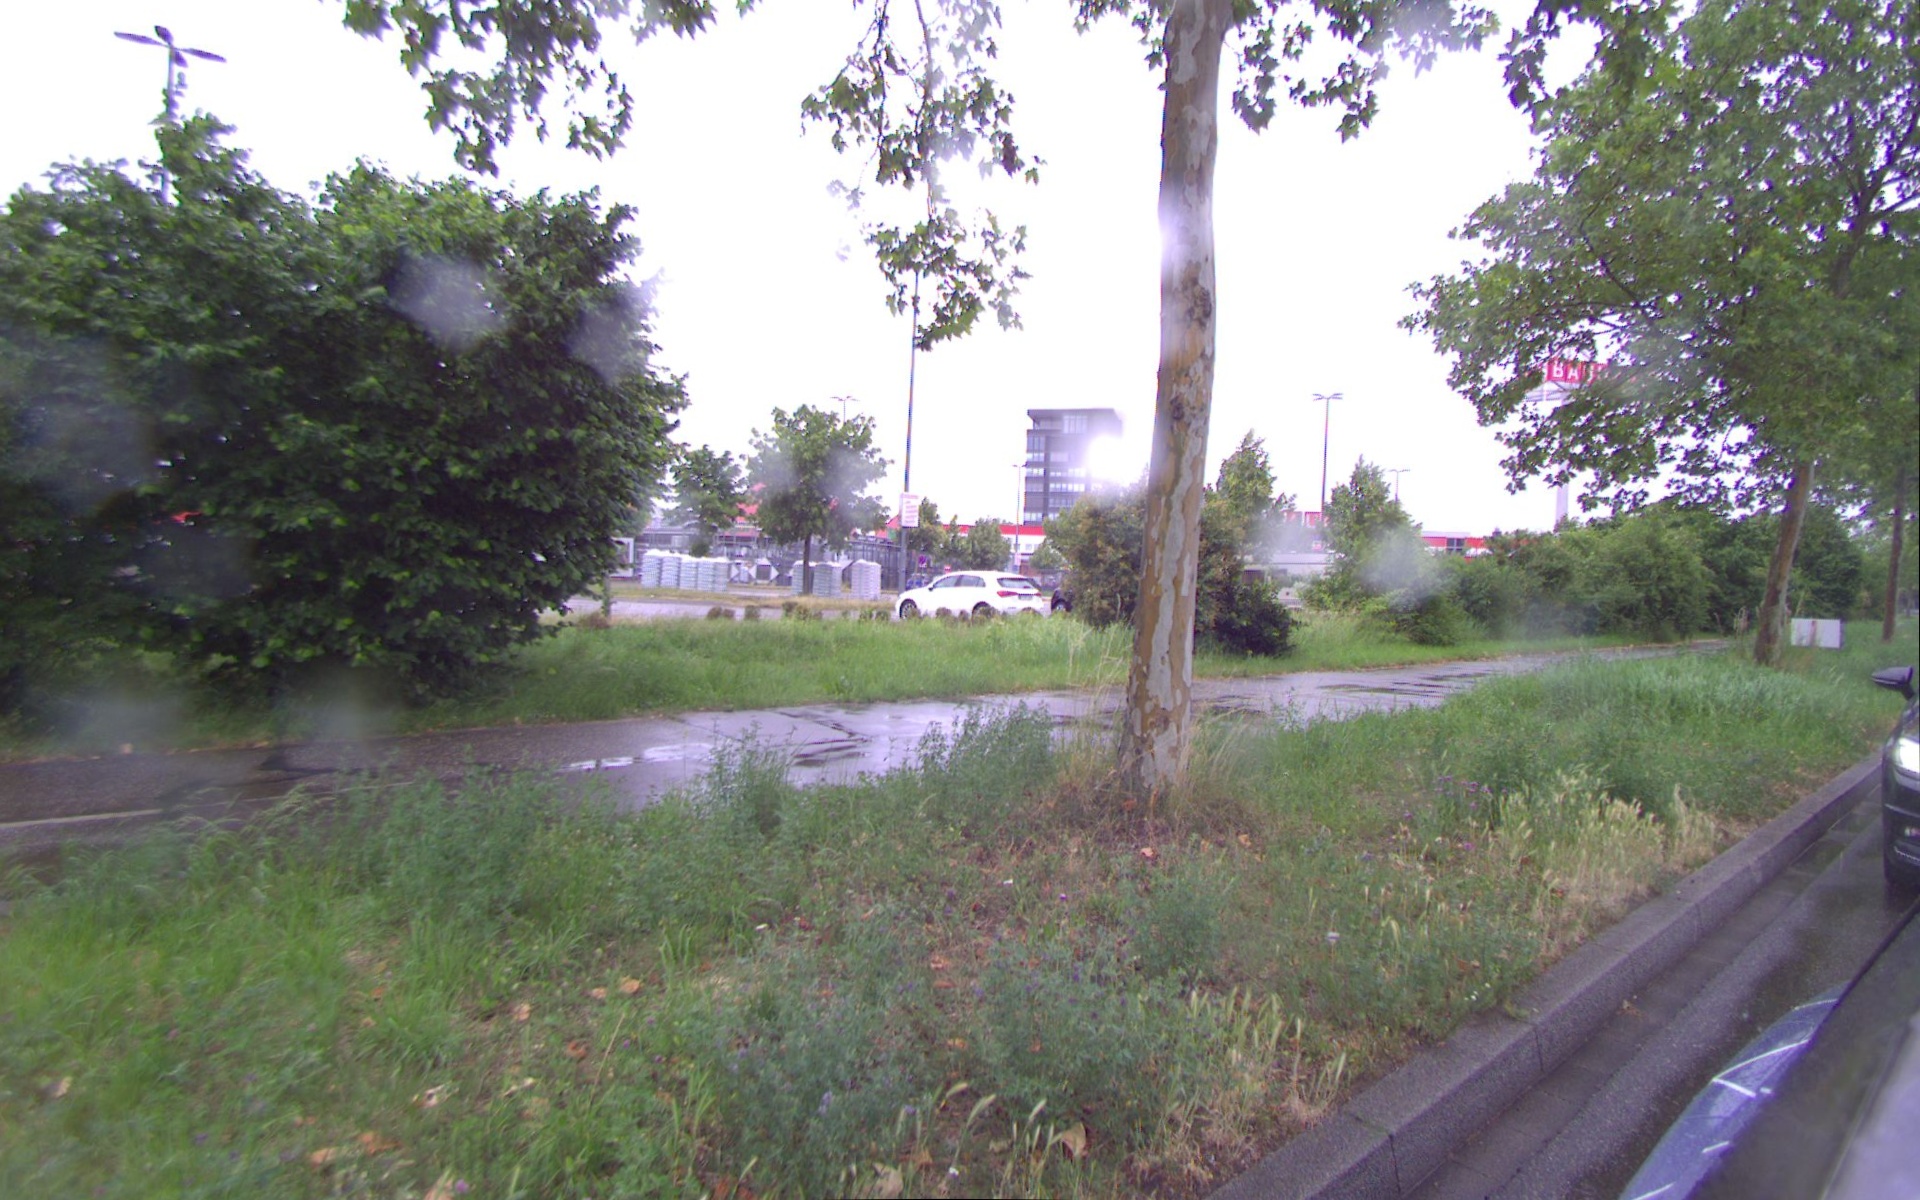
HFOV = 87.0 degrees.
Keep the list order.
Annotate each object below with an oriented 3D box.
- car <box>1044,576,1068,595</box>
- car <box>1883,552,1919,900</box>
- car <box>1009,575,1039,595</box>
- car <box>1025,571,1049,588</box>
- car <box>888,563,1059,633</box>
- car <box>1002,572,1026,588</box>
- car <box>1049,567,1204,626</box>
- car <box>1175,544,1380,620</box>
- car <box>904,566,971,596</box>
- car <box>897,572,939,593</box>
[{"bbox_3d":[9.477,-1.449,99.741,1.970,1.697,4.262,2,2,10],"label":"car"},{"bbox_3d":[6.654,0.583,5.714,4.548,1.625,1.768,0,0,-43],"label":"car"},{"bbox_3d":[6.026,-1.440,94.724,1.973,1.697,4.255,2,2,14],"label":"car"},{"bbox_3d":[8.496,-2.276,111.900,1.973,1.697,4.257,2,2,13],"label":"car"},{"bbox_3d":[0.279,-0.105,25.941,1.899,1.571,4.262,0,2,-45],"label":"car"},{"bbox_3d":[6.001,-2.269,112.500,1.973,1.697,4.257,2,2,13],"label":"car"},{"bbox_3d":[4.920,-0.146,30.296,1.899,1.571,4.262,0,2,-45],"label":"car"},{"bbox_3d":[10.945,-0.697,35.284,6.399,2.392,2.357,3,2,41],"label":"car"},{"bbox_3d":[-1.332,-1.133,60.006,3.723,1.739,1.685,0,0,13],"label":"car"},{"bbox_3d":[-3.241,-1.395,79.156,1.905,1.571,4.249,2,2,18],"label":"car"}]
